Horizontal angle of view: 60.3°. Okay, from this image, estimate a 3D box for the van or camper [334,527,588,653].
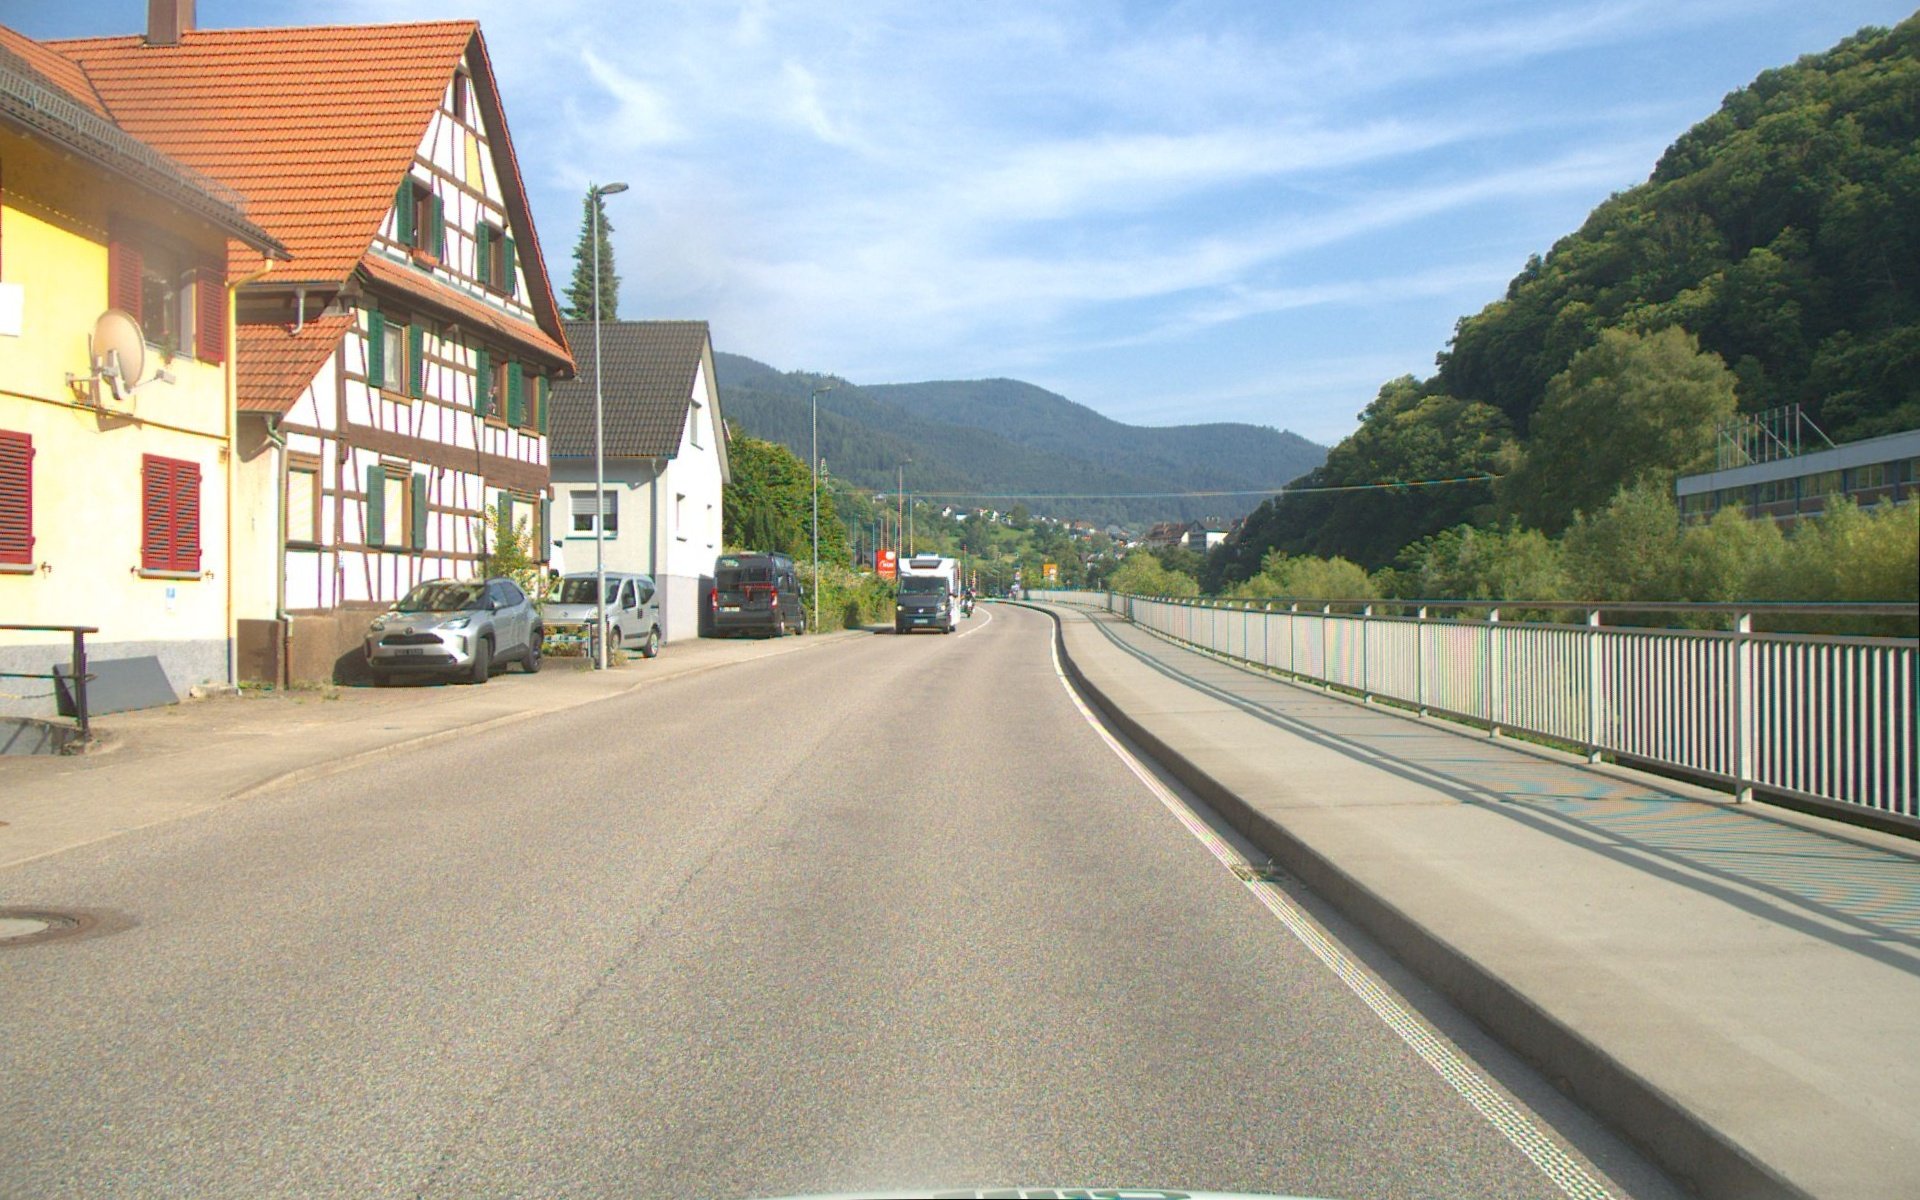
[{"bbox_3d":[-11.396,-0.238,37.955,5.065,2.710,2.194,1,0,10],"label":"van or camper"}]

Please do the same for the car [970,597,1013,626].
[{"bbox_3d":[1.684,0.602,87.888,1.595,1.511,4.003,1,0,11],"label":"car"}]

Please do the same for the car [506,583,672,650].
[{"bbox_3d":[-9.714,0.421,43.456,3.837,1.577,1.908,2,0,2],"label":"car"}]

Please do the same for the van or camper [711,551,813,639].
[{"bbox_3d":[-6.119,-0.160,51.821,2.103,2.600,5.904,0,0,4],"label":"van or camper"}]

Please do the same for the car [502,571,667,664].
[{"bbox_3d":[-7.315,0.326,32.685,1.860,1.693,4.270,1,0,6],"label":"car"}]

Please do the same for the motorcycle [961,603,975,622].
[{"bbox_3d":[0.469,0.706,95.967,0.640,1.086,2.183,0,0,5],"label":"motorcycle"}]

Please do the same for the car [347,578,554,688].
[{"bbox_3d":[-7.839,0.467,25.856,1.845,1.545,4.095,-1,0,2],"label":"car"}]

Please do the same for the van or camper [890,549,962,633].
[{"bbox_3d":[-1.236,-0.354,63.448,2.149,2.990,7.130,1,0,3],"label":"van or camper"}]

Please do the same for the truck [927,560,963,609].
[{"bbox_3d":[-1.362,-1.318,142.963,2.527,4.000,11.297,-1,0,-4],"label":"truck"}]

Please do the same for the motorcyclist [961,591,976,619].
[{"bbox_3d":[0.507,0.280,95.646,0.808,1.585,0.628,0,-1,6],"label":"motorcyclist"}]
